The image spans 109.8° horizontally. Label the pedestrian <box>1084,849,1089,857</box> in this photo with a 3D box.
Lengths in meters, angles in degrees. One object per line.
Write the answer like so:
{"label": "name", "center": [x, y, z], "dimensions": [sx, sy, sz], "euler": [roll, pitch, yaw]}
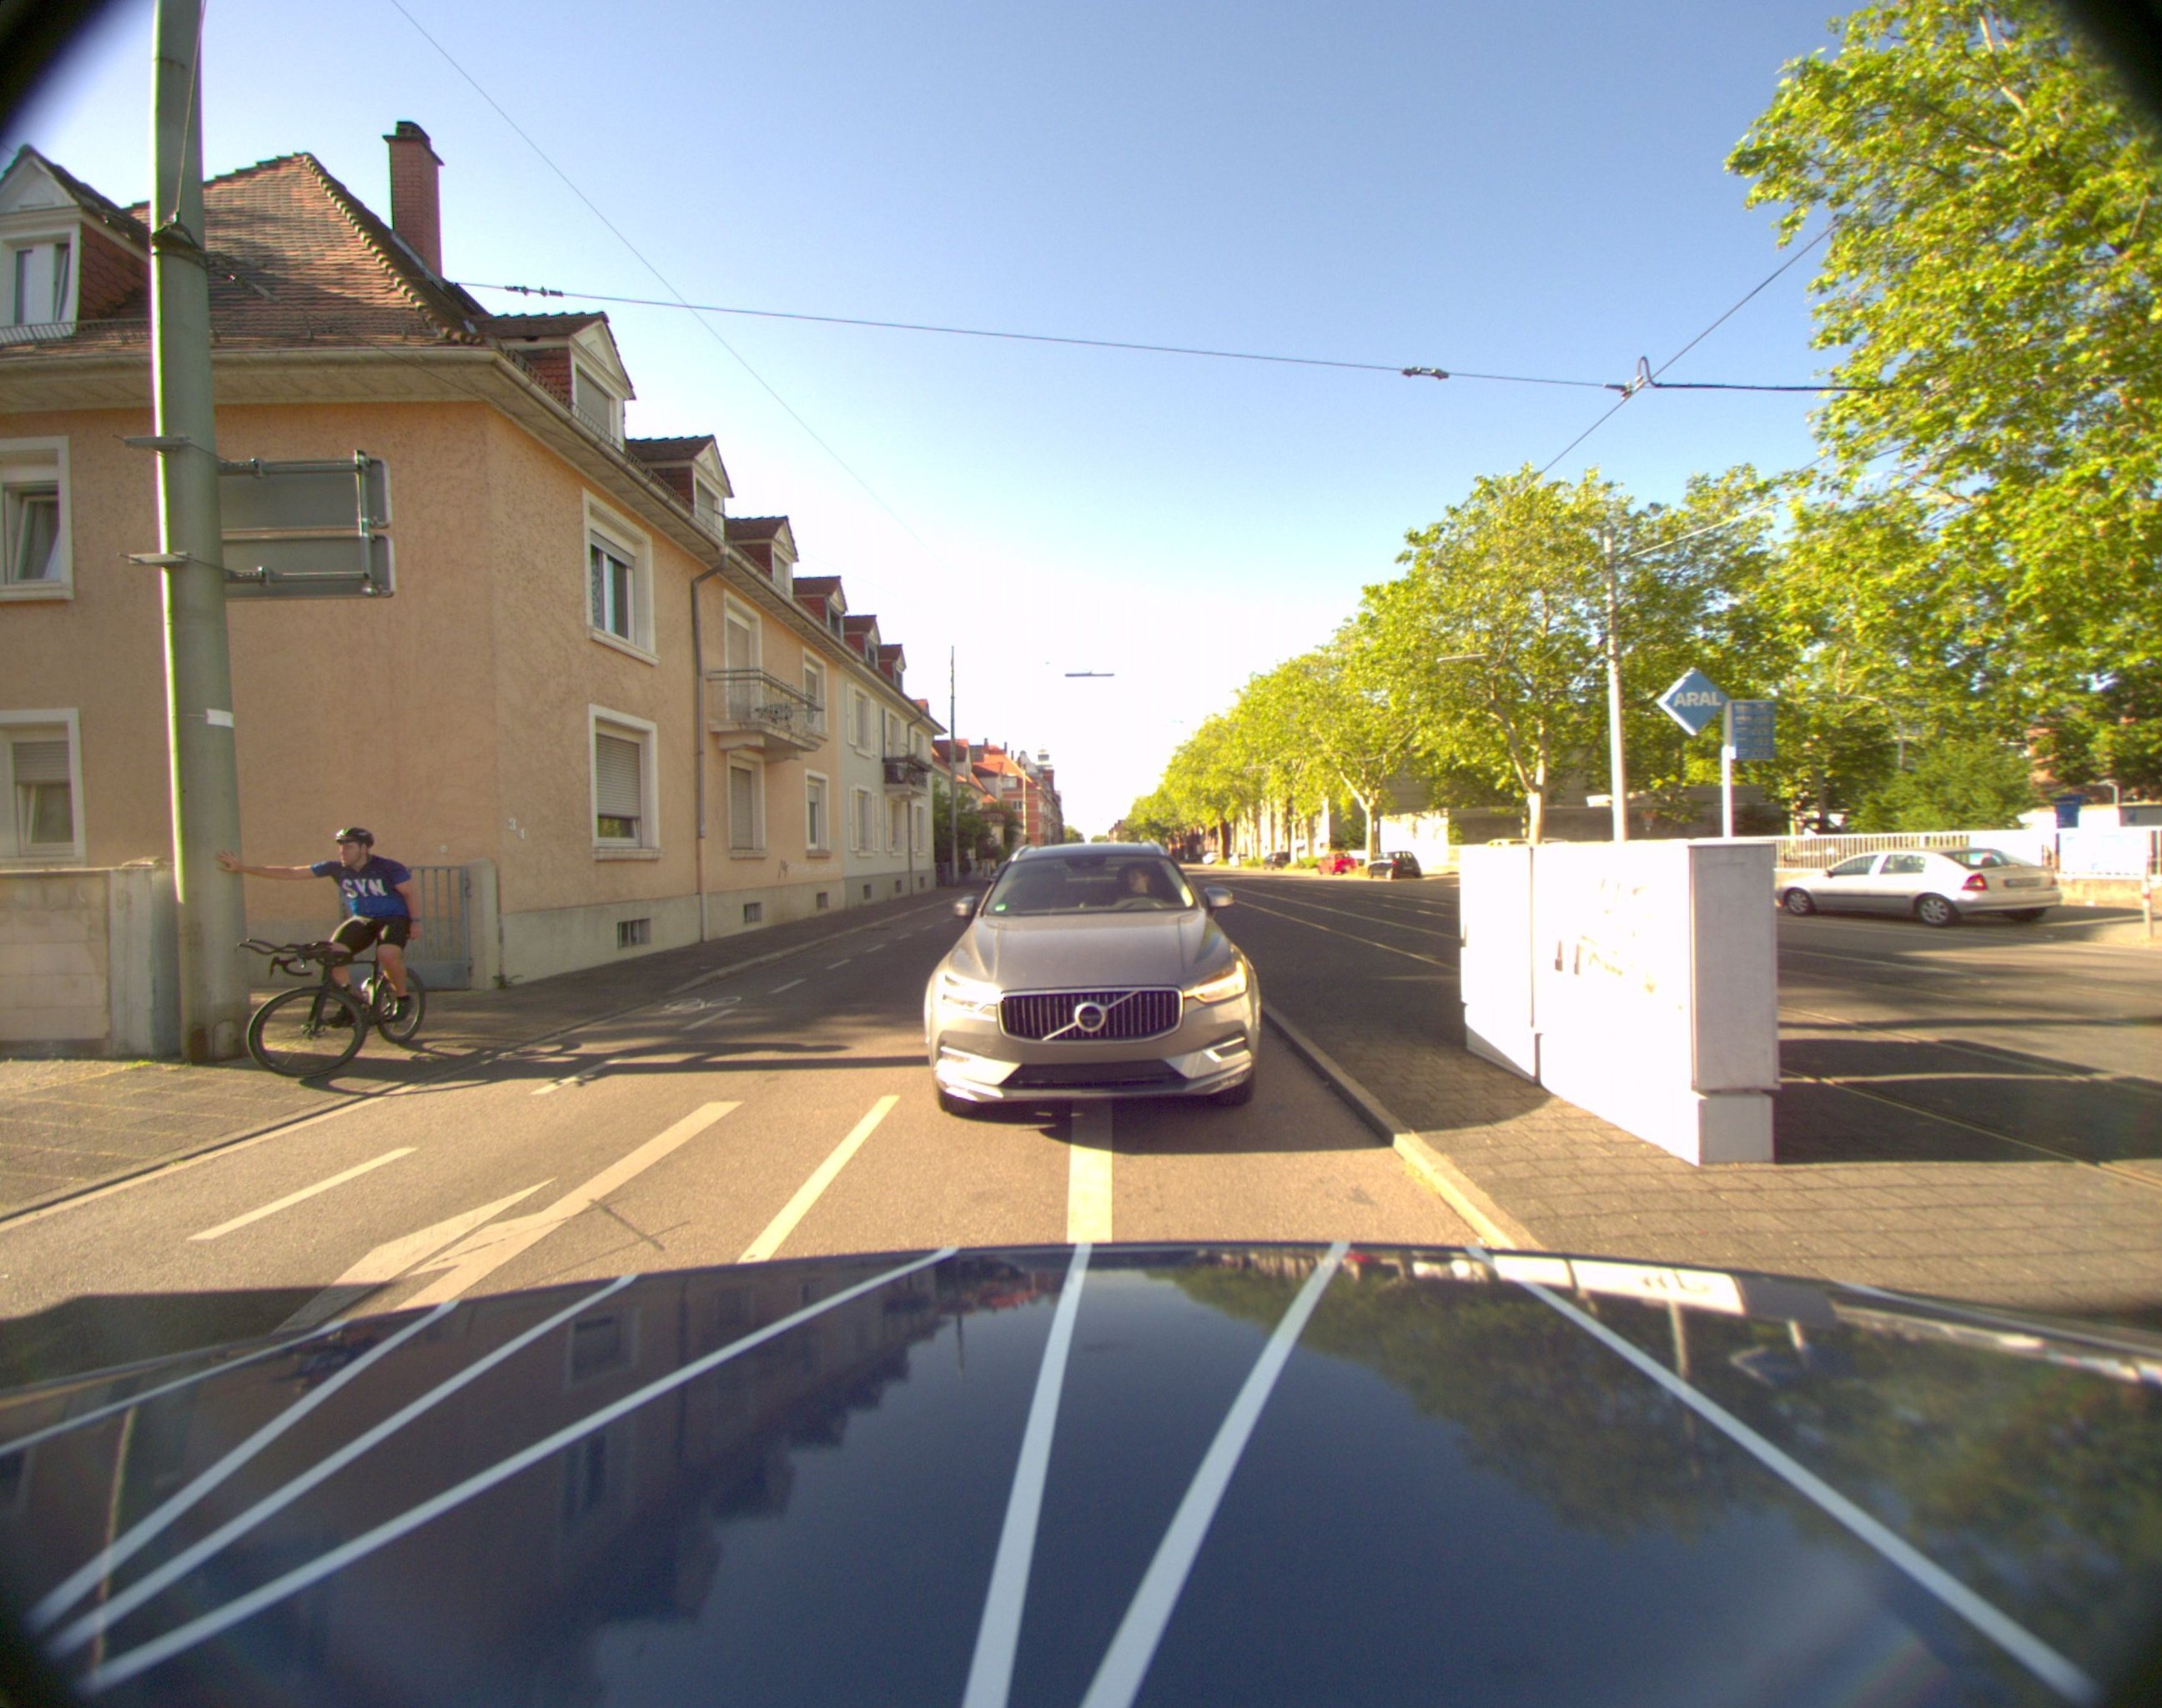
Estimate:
{"label": "pedestrian", "center": [1.322, -0.199, 179.183], "dimensions": [1.104, 2.002, 1.242], "euler": [-1, 1, 1]}

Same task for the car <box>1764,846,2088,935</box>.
{"label": "car", "center": [16.236, 0.616, 14.976], "dimensions": [1.846, 1.400, 3.999], "euler": [-4, 0, -1]}

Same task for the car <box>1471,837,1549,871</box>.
{"label": "car", "center": [21.750, -0.028, 38.713], "dimensions": [1.845, 1.524, 4.001], "euler": [-4, 0, 4]}

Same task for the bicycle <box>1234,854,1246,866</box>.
{"label": "bicycle", "center": [15.361, 0.572, 73.283], "dimensions": [0.654, 1.114, 2.533], "euler": [-1, 0, 1]}

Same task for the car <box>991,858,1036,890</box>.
{"label": "car", "center": [-3.229, 0.945, 36.975], "dimensions": [1.847, 1.412, 3.999], "euler": [-1, 0, -1]}

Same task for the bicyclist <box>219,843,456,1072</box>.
{"label": "bicyclist", "center": [-6.170, 0.808, 6.372], "dimensions": [1.071, 1.728, 0.853], "euler": [4, 1, 1]}

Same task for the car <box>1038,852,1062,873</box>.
{"label": "car", "center": [-2.675, 0.693, 65.768], "dimensions": [1.847, 1.681, 4.000], "euler": [-1, 0, 0]}

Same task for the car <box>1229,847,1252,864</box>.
{"label": "car", "center": [17.490, 0.116, 83.543], "dimensions": [1.845, 1.664, 4.098], "euler": [-4, 0, 3]}

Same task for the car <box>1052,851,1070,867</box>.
{"label": "car", "center": [-2.243, 0.549, 85.482], "dimensions": [1.999, 1.641, 4.658], "euler": [-1, 0, -1]}

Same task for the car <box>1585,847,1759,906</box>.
{"label": "car", "center": [16.518, 0.566, 21.548], "dimensions": [1.845, 1.400, 4.138], "euler": [-4, 0, 4]}

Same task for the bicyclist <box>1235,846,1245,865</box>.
{"label": "bicyclist", "center": [15.321, 0.135, 73.254], "dimensions": [0.720, 1.853, 1.071], "euler": [-1, 1, 0]}

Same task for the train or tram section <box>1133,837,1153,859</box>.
{"label": "train or tram section", "center": [9.995, -0.930, 123.273], "dimensions": [2.861, 3.456, 10.184], "euler": [-1, 0, 3]}

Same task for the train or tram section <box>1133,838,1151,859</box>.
{"label": "train or tram section", "center": [10.707, -1.020, 133.323], "dimensions": [2.842, 3.456, 10.185], "euler": [-2, 1, 5]}

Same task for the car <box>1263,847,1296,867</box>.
{"label": "car", "center": [17.169, 0.223, 65.894], "dimensions": [1.845, 1.607, 4.098], "euler": [-4, 0, 3]}

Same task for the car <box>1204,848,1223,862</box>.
{"label": "car", "center": [17.595, 0.075, 100.905], "dimensions": [1.845, 1.664, 4.098], "euler": [-4, 0, 3]}

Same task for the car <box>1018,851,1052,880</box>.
{"label": "car", "center": [-2.785, 0.672, 46.783], "dimensions": [1.847, 1.681, 4.000], "euler": [-1, 0, 0]}

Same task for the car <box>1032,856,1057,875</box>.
{"label": "car", "center": [-2.879, 0.859, 60.404], "dimensions": [1.808, 1.402, 3.999], "euler": [-1, 0, -1]}

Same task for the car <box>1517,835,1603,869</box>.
{"label": "car", "center": [24.043, -0.112, 38.336], "dimensions": [1.845, 1.524, 4.000], "euler": [-4, 0, 2]}

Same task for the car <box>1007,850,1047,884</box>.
{"label": "car", "center": [-2.959, 0.685, 42.259], "dimensions": [1.847, 1.742, 4.144], "euler": [-1, 0, 0]}

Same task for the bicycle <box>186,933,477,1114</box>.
{"label": "bicycle", "center": [-5.927, 1.274, 6.173], "dimensions": [0.594, 1.045, 1.719], "euler": [4, 1, 1]}

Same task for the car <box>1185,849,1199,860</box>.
{"label": "car", "center": [18.368, -0.008, 125.409], "dimensions": [1.845, 1.664, 4.098], "euler": [-4, 0, 3]}

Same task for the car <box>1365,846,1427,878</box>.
{"label": "car", "center": [16.967, 0.407, 41.086], "dimensions": [1.845, 1.524, 4.001], "euler": [-4, 0, 4]}

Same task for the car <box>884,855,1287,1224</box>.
{"label": "car", "center": [0.002, 0.887, 5.786], "dimensions": [1.892, 1.695, 4.318], "euler": [-1, 0, -1]}

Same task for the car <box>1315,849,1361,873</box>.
{"label": "car", "center": [16.962, 0.445, 50.310], "dimensions": [1.845, 1.400, 4.001], "euler": [-4, 0, 3]}
